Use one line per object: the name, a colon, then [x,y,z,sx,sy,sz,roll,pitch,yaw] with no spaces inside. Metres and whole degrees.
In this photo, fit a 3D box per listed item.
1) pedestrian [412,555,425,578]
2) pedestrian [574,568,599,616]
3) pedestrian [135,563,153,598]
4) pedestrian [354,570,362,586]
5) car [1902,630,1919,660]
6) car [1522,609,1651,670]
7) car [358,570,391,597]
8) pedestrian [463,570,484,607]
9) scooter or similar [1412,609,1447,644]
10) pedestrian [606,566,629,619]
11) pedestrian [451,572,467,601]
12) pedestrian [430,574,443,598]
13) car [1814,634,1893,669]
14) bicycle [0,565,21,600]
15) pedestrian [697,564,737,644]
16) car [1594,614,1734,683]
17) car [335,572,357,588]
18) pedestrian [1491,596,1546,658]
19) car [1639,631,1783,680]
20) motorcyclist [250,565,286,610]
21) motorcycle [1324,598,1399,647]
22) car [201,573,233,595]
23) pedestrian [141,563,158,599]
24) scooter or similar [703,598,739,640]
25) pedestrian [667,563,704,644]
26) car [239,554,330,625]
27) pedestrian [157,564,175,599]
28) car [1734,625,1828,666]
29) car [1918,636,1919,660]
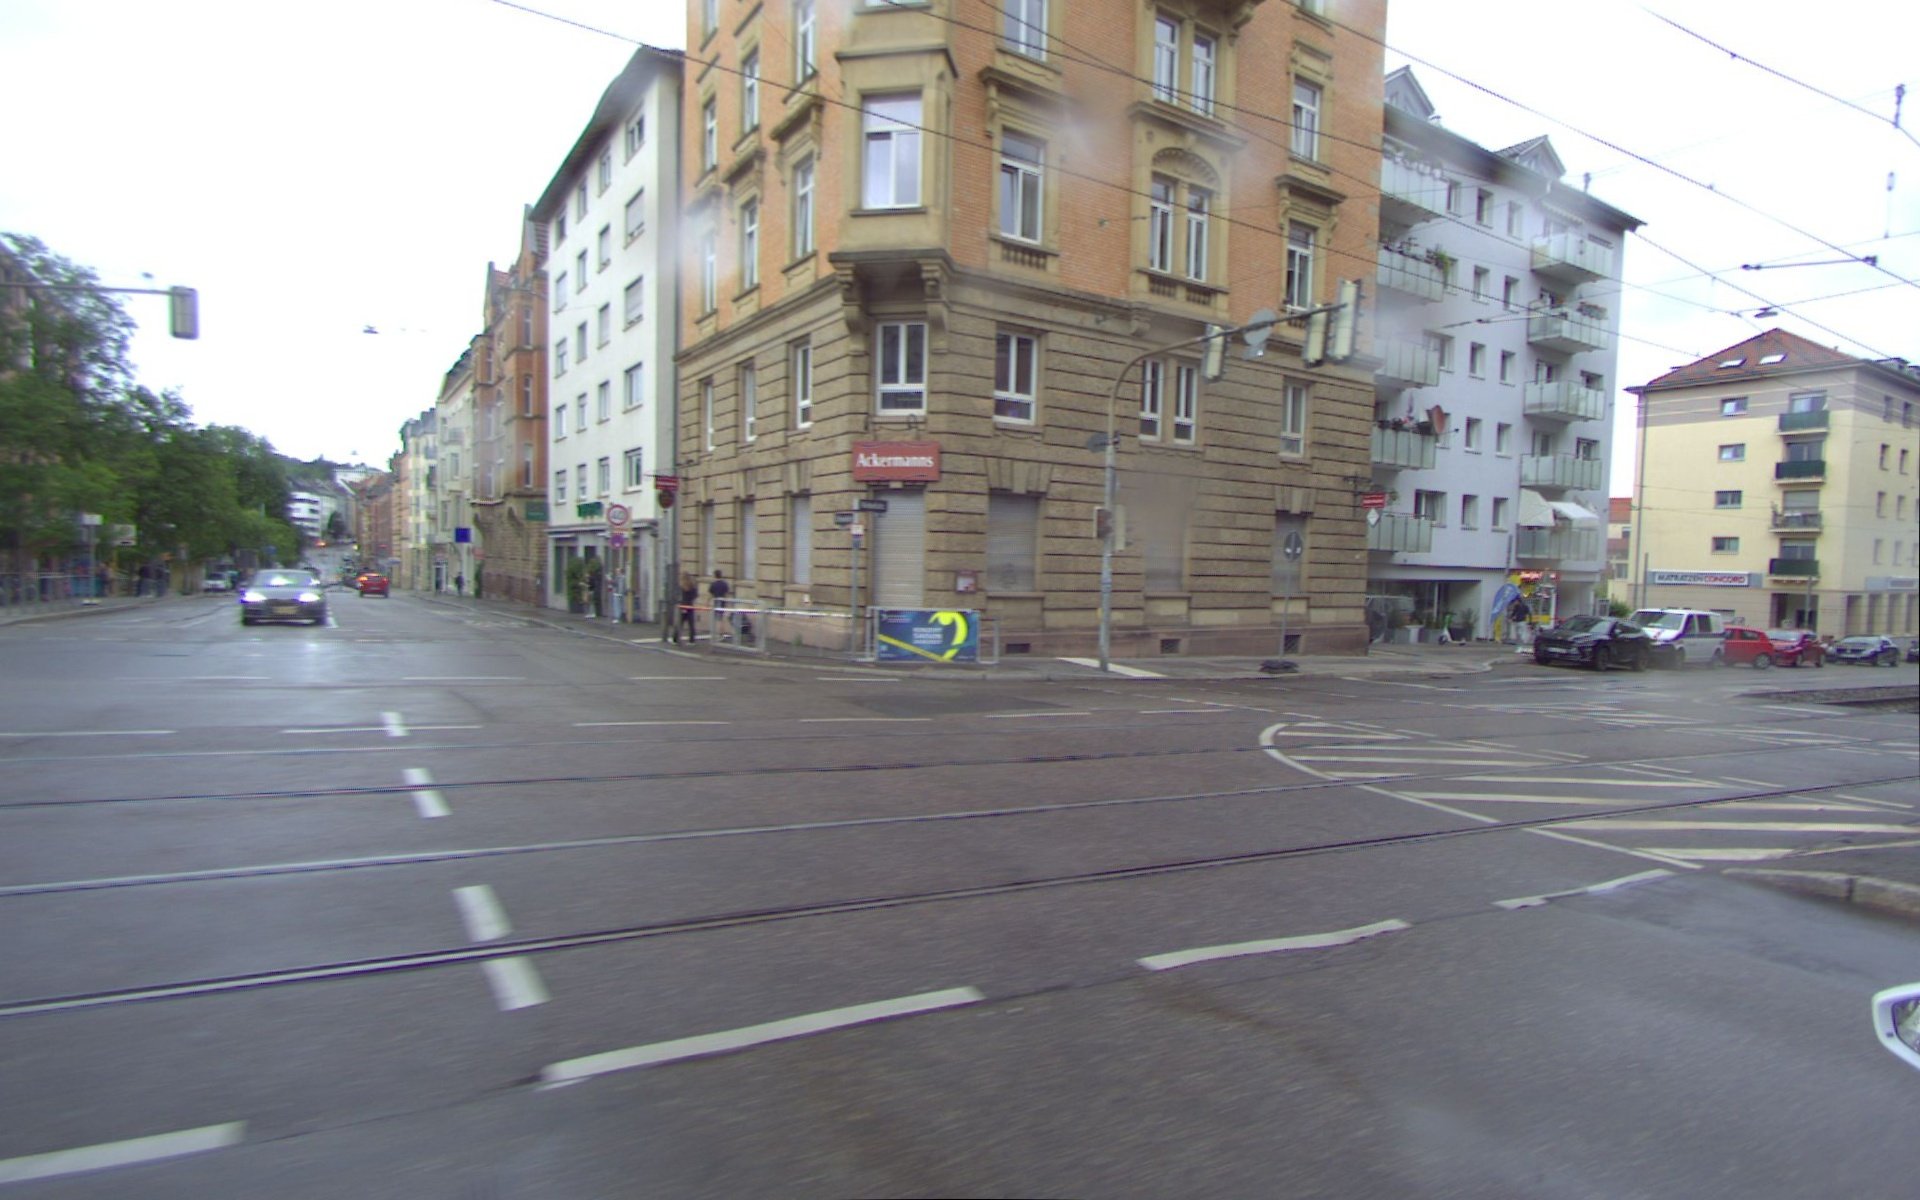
pedestrian: [-44.601,-2.752,82.732,0.805,1.861,0.762,2,1,-35]
pedestrian: [-13.581,-0.297,36.533,0.660,1.692,0.826,2,1,-30]
pedestrian: [-39.533,-0.950,48.682,0.567,1.651,0.482,2,1,-33]
pedestrian: [-74.654,-2.739,124.506,0.805,1.861,0.762,2,1,-35]
car: [51.260,2.432,52.846,4.950,1.528,1.836,3,0,-40]
car: [19.220,1.211,30.739,4.320,1.673,1.721,2,1,-35]
car: [-39.337,-1.135,67.467,1.620,1.603,3.961,2,2,-34]
pedestrian: [-24.685,-0.588,50.922,0.805,1.861,0.762,2,1,-35]
scooter or similar: [16.754,0.959,35.866,0.314,1.225,1.078,2,-2,-44]
pedestrian: [-11.236,-0.236,32.925,0.588,1.690,0.598,2,1,-24]
pedestrian: [-33.464,-0.915,67.145,0.805,1.861,0.762,2,1,-35]
pedestrian: [-41.830,-1.141,80.254,0.805,1.861,0.762,2,1,-35]
car: [40.352,2.330,45.327,4.577,1.414,1.668,3,0,-36]
bicycle: [-32.466,-0.612,32.890,2.340,1.116,0.845,2,1,-31]
pedestrian: [-5.797,0.098,23.991,0.615,1.864,0.640,2,0,24]
car: [24.090,1.630,34.320,5.247,2.036,2.056,2,4,-34]
car: [-56.576,-1.853,92.567,1.618,1.309,3.966,2,2,-30]
pedestrian: [18.618,0.895,33.488,1.169,1.955,1.161,2,2,-41]
car: [27.780,2.031,37.251,3.904,1.453,1.785,3,1,0]
motorcyclist: [-21.065,-0.387,30.597,0.832,1.320,0.807,2,1,-32]
motorcycle: [12.939,0.734,32.368,2.285,1.394,0.923,2,9,-34]
car: [-57.927,-1.267,78.362,1.799,1.610,3.962,2,0,-34]
pedestrian: [-38.475,-0.892,47.686,0.569,1.651,0.568,2,2,-35]
scooter or similar: [-5.673,0.454,23.832,0.545,0.957,0.577,3,1,26]
pedestrian: [-6.210,0.066,22.737,0.633,1.791,0.622,-2,3,-32]
car: [-17.838,-0.287,26.566,1.823,1.688,3.962,2,0,-34]
pedestrian: [-38.123,-0.876,48.231,0.593,1.651,0.568,2,2,-35]
car: [32.954,1.845,40.292,4.029,1.471,1.644,3,0,-32]
car: [55.920,2.757,56.551,4.782,1.451,1.839,3,2,-34]
